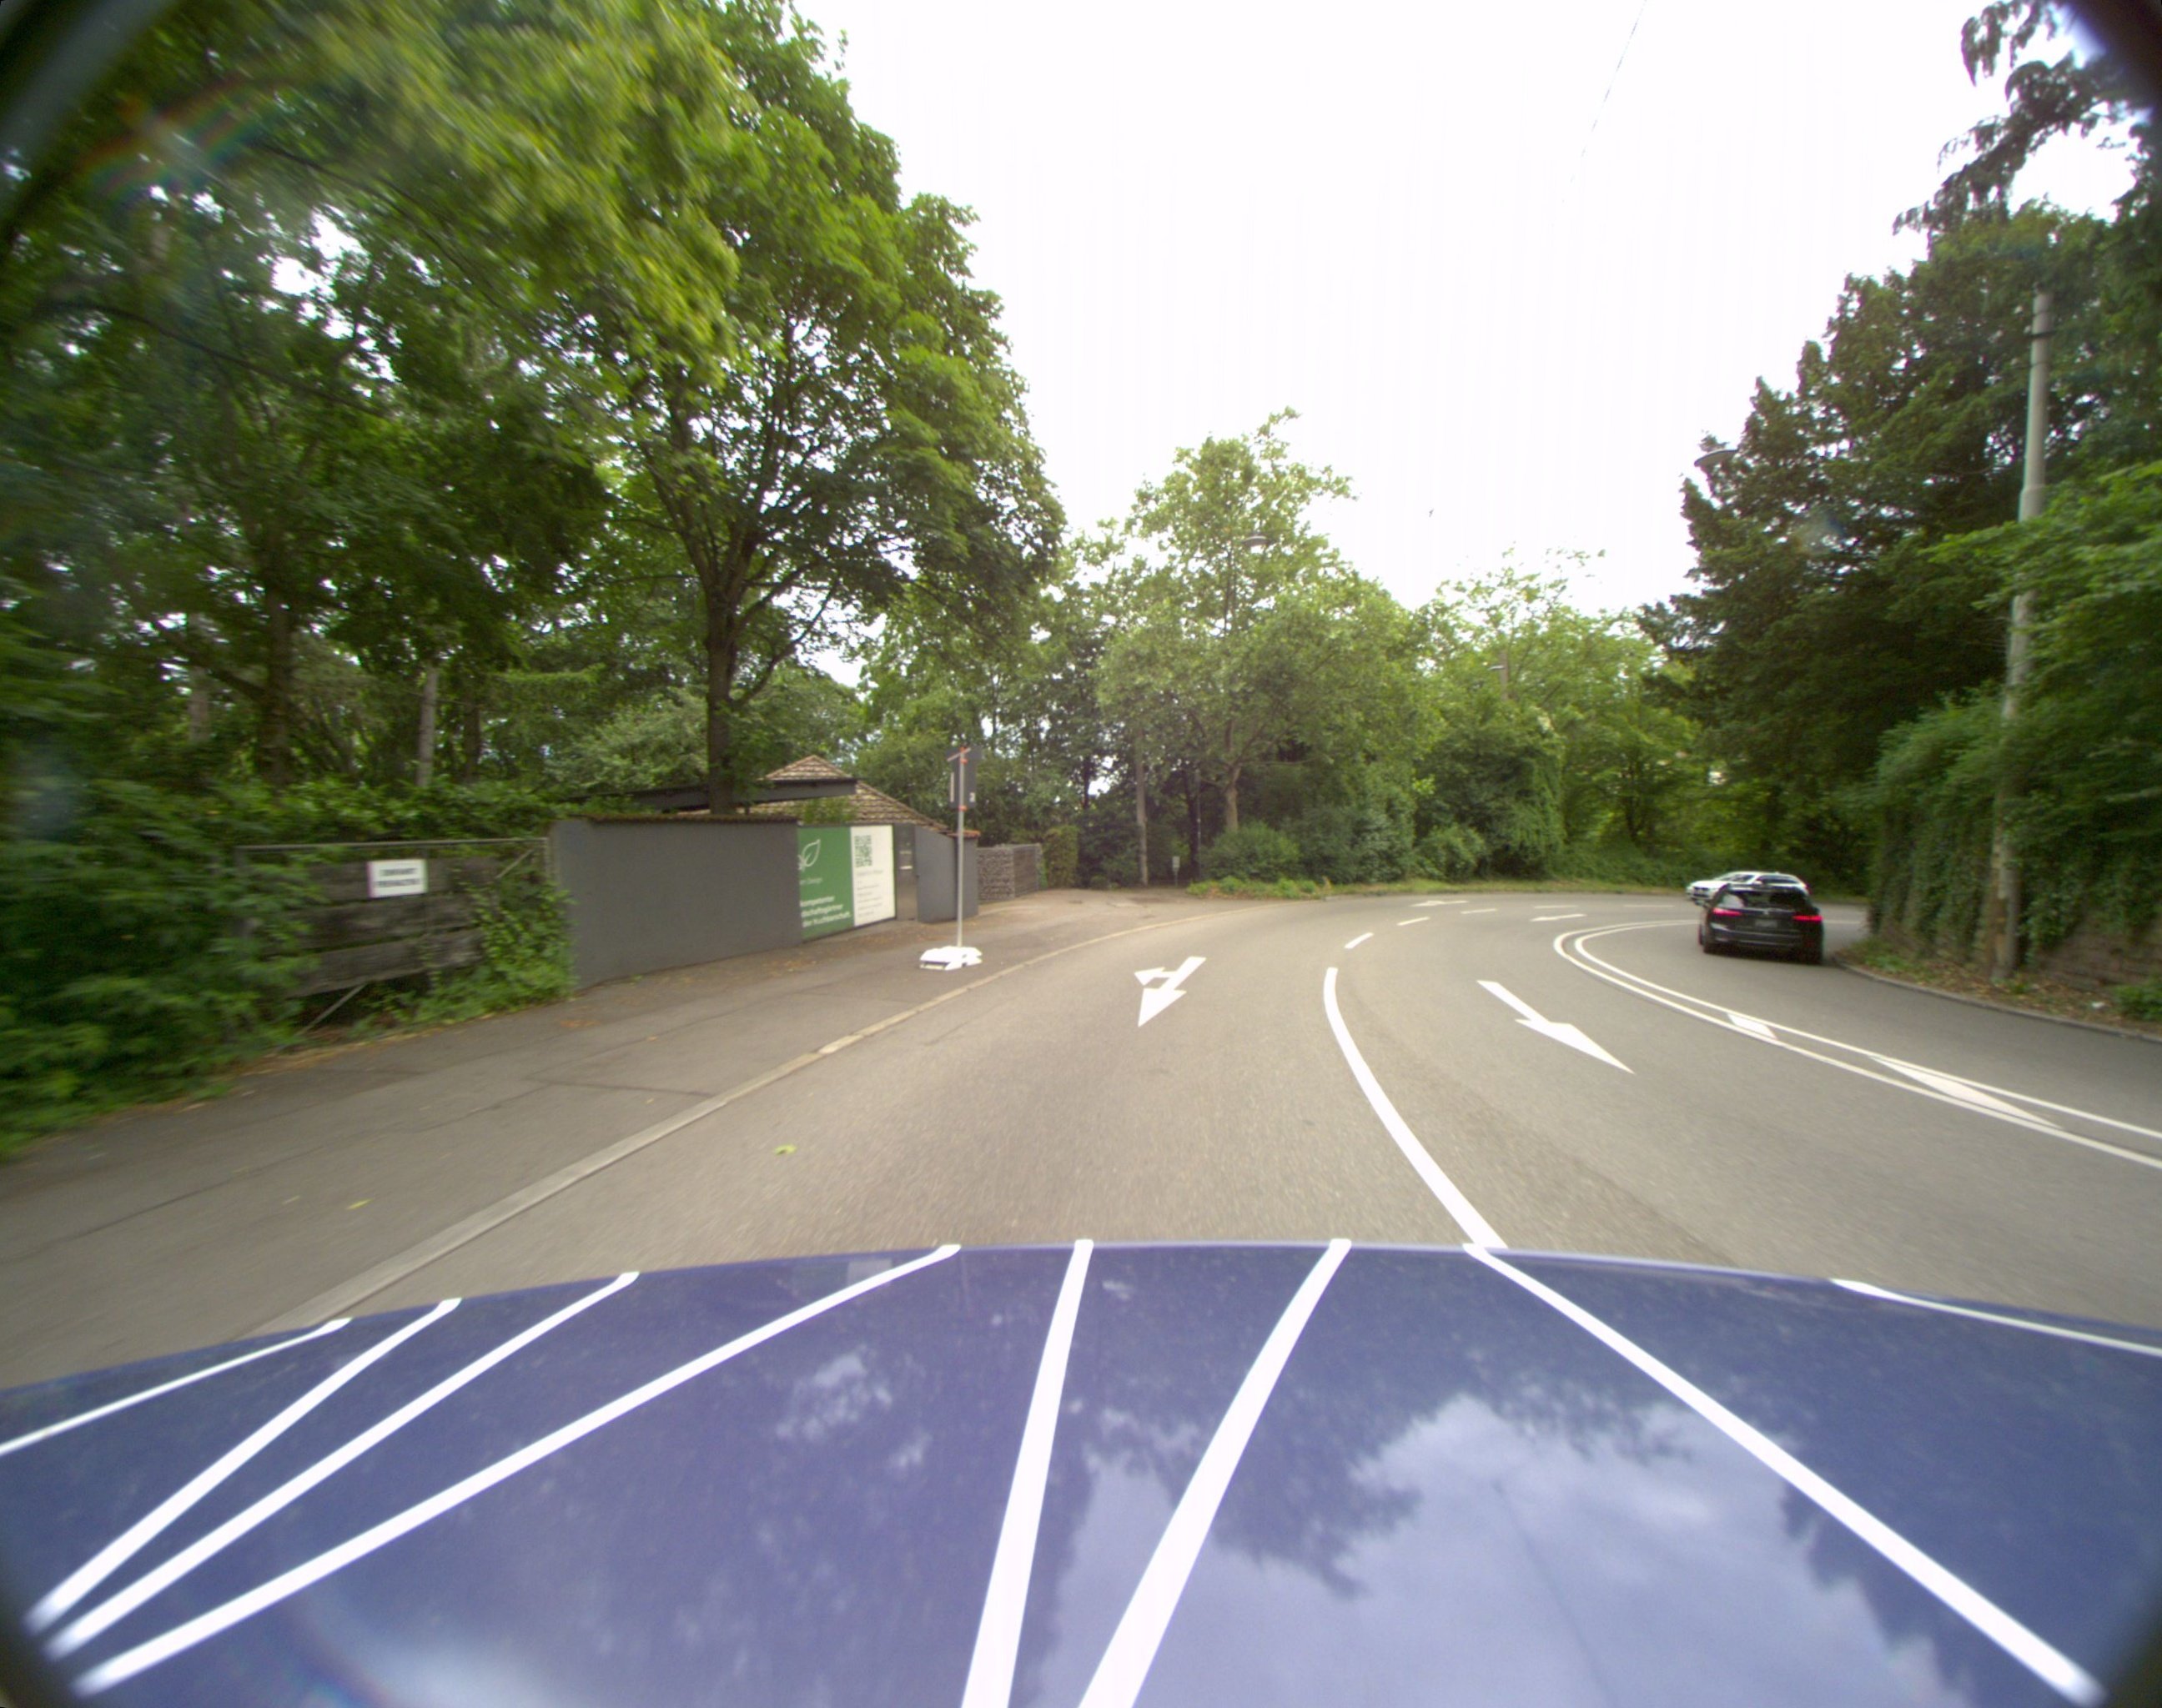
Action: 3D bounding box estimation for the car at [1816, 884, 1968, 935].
[{"bbox_3d":[28.165,1.918,26.430,4.002,1.435,1.804,2,3,-14],"label":"car"}]

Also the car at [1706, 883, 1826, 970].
[{"bbox_3d":[14.777,1.481,16.574,1.603,1.564,4.073,3,0,38],"label":"car"}]

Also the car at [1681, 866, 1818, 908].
[{"bbox_3d":[30.040,1.463,34.234,4.525,1.543,1.915,2,5,-5],"label":"car"}]
